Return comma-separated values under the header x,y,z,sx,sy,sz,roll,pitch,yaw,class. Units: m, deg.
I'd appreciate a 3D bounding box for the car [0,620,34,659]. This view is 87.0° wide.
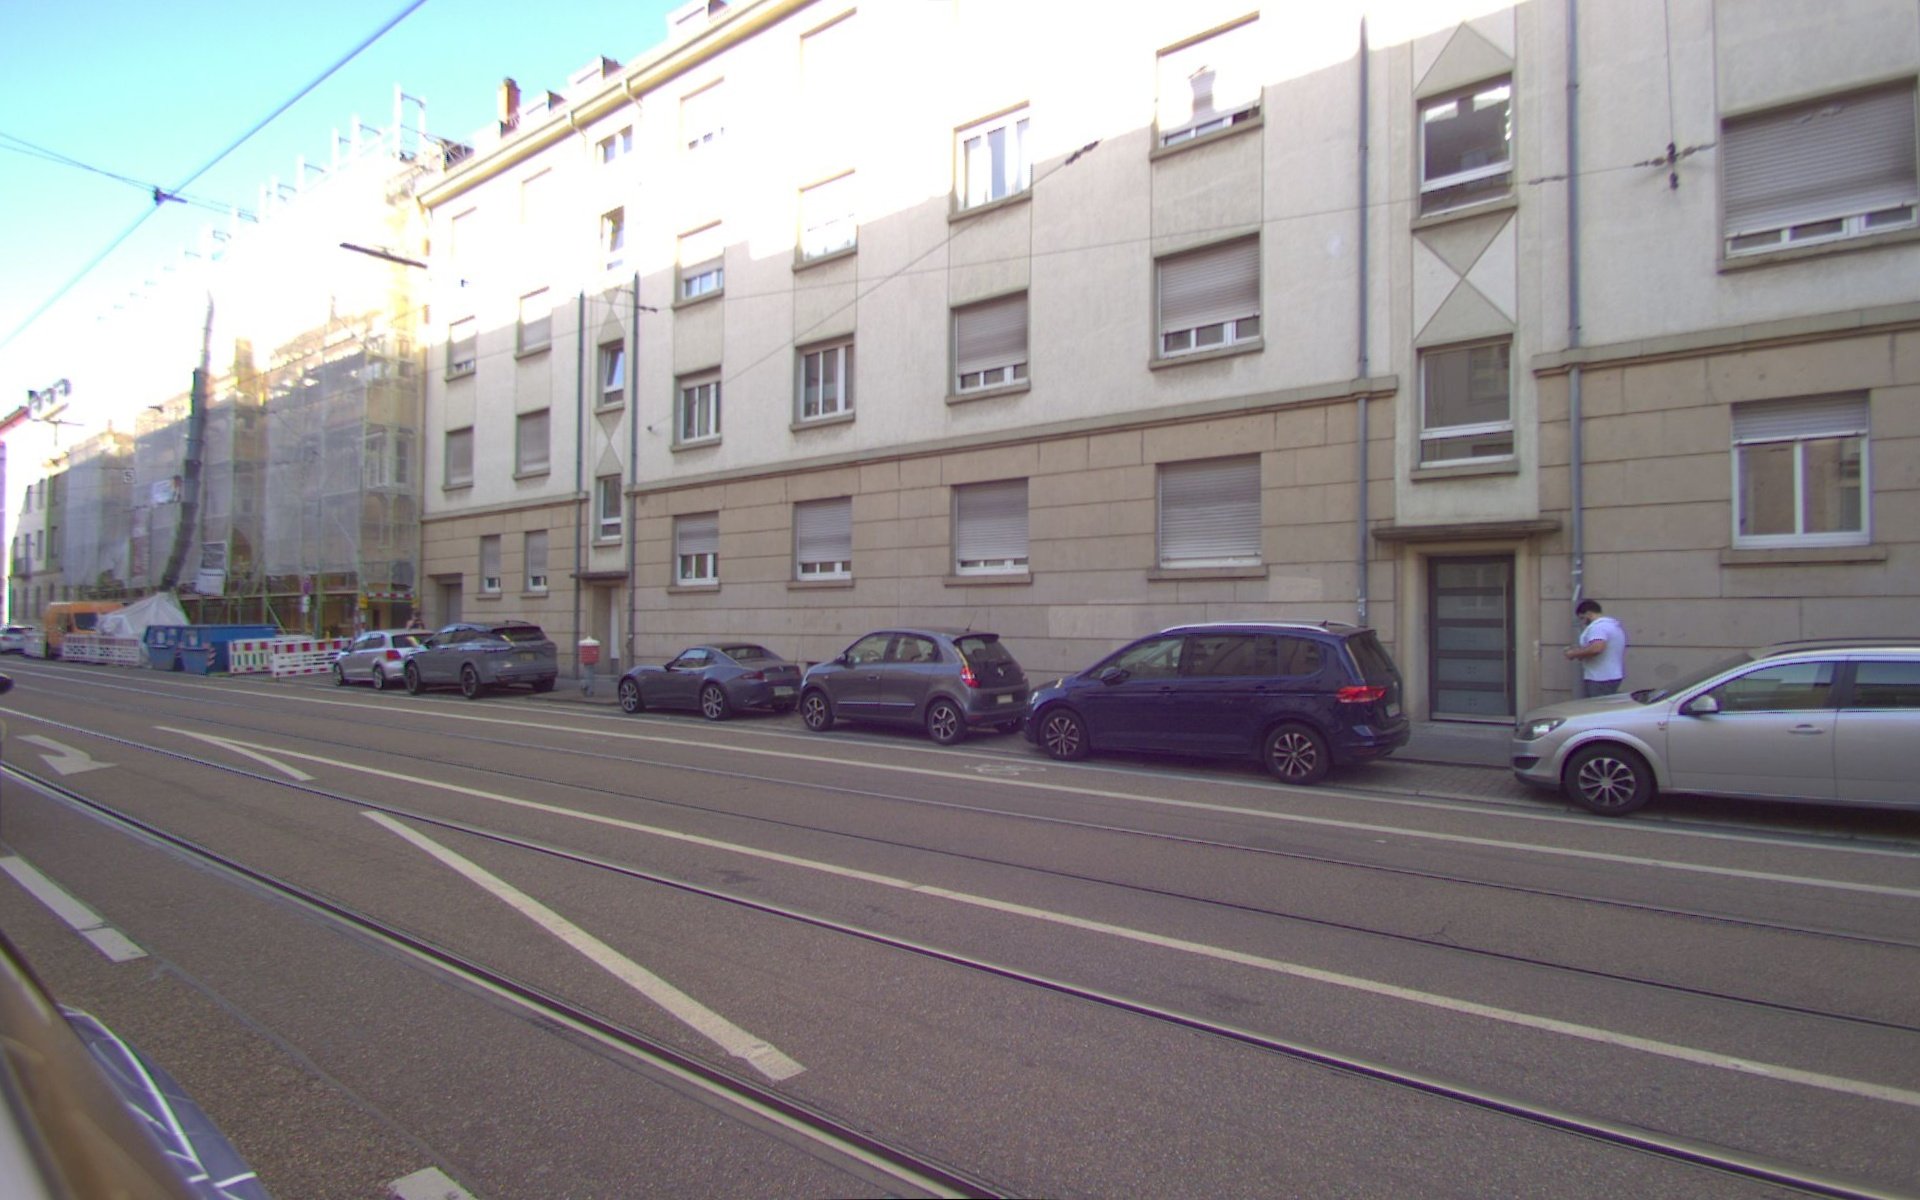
x,y,z,sx,sy,sz,roll,pitch,yaw,class
-50.030,2.073,53.364,1.635,1.937,3.767,-1,0,-44,car

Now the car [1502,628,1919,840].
x,y,z,sx,sy,sz,roll,pitch,yaw,class
7.100,1.016,8.424,4.363,1.465,1.709,-1,1,37,car

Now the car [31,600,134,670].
x,y,z,sx,sy,sz,roll,pitch,yaw,class
-36.463,1.397,41.998,5.866,2.717,2.188,-1,0,39,car

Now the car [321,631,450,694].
x,y,z,sx,sy,sz,roll,pitch,yaw,class
-14.438,1.514,25.388,3.502,1.390,1.546,-1,1,37,car

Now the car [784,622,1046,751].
x,y,z,sx,sy,sz,roll,pitch,yaw,class
-0.710,1.139,14.676,3.591,1.570,1.624,-1,1,38,car

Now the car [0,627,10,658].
x,y,z,sx,sy,sz,roll,pitch,yaw,class
-54.796,2.406,56.882,3.932,1.696,1.550,-1,0,39,car

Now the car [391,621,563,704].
x,y,z,sx,sy,sz,roll,pitch,yaw,class
-10.843,1.322,22.619,4.152,1.621,1.731,-1,1,37,car

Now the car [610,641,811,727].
x,y,z,sx,sy,sz,roll,pitch,yaw,class
-4.346,1.376,17.450,3.518,1.229,1.458,-1,1,37,car

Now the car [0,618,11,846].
x,y,z,sx,sy,sz,roll,pitch,yaw,class
-8.036,0.872,6.994,3.814,1.436,1.706,-2,-3,40,car

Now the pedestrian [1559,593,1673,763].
x,y,z,sx,sy,sz,roll,pitch,yaw,class
7.203,0.819,11.160,1.002,1.781,0.657,-1,0,31,pedestrian

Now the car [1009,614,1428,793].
x,y,z,sx,sy,sz,roll,pitch,yaw,class
2.866,1.018,11.669,4.318,1.645,1.798,-1,1,37,car

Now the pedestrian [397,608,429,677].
x,y,z,sx,sy,sz,roll,pitch,yaw,class
-15.343,1.177,28.391,0.762,1.886,0.513,-1,0,38,pedestrian
